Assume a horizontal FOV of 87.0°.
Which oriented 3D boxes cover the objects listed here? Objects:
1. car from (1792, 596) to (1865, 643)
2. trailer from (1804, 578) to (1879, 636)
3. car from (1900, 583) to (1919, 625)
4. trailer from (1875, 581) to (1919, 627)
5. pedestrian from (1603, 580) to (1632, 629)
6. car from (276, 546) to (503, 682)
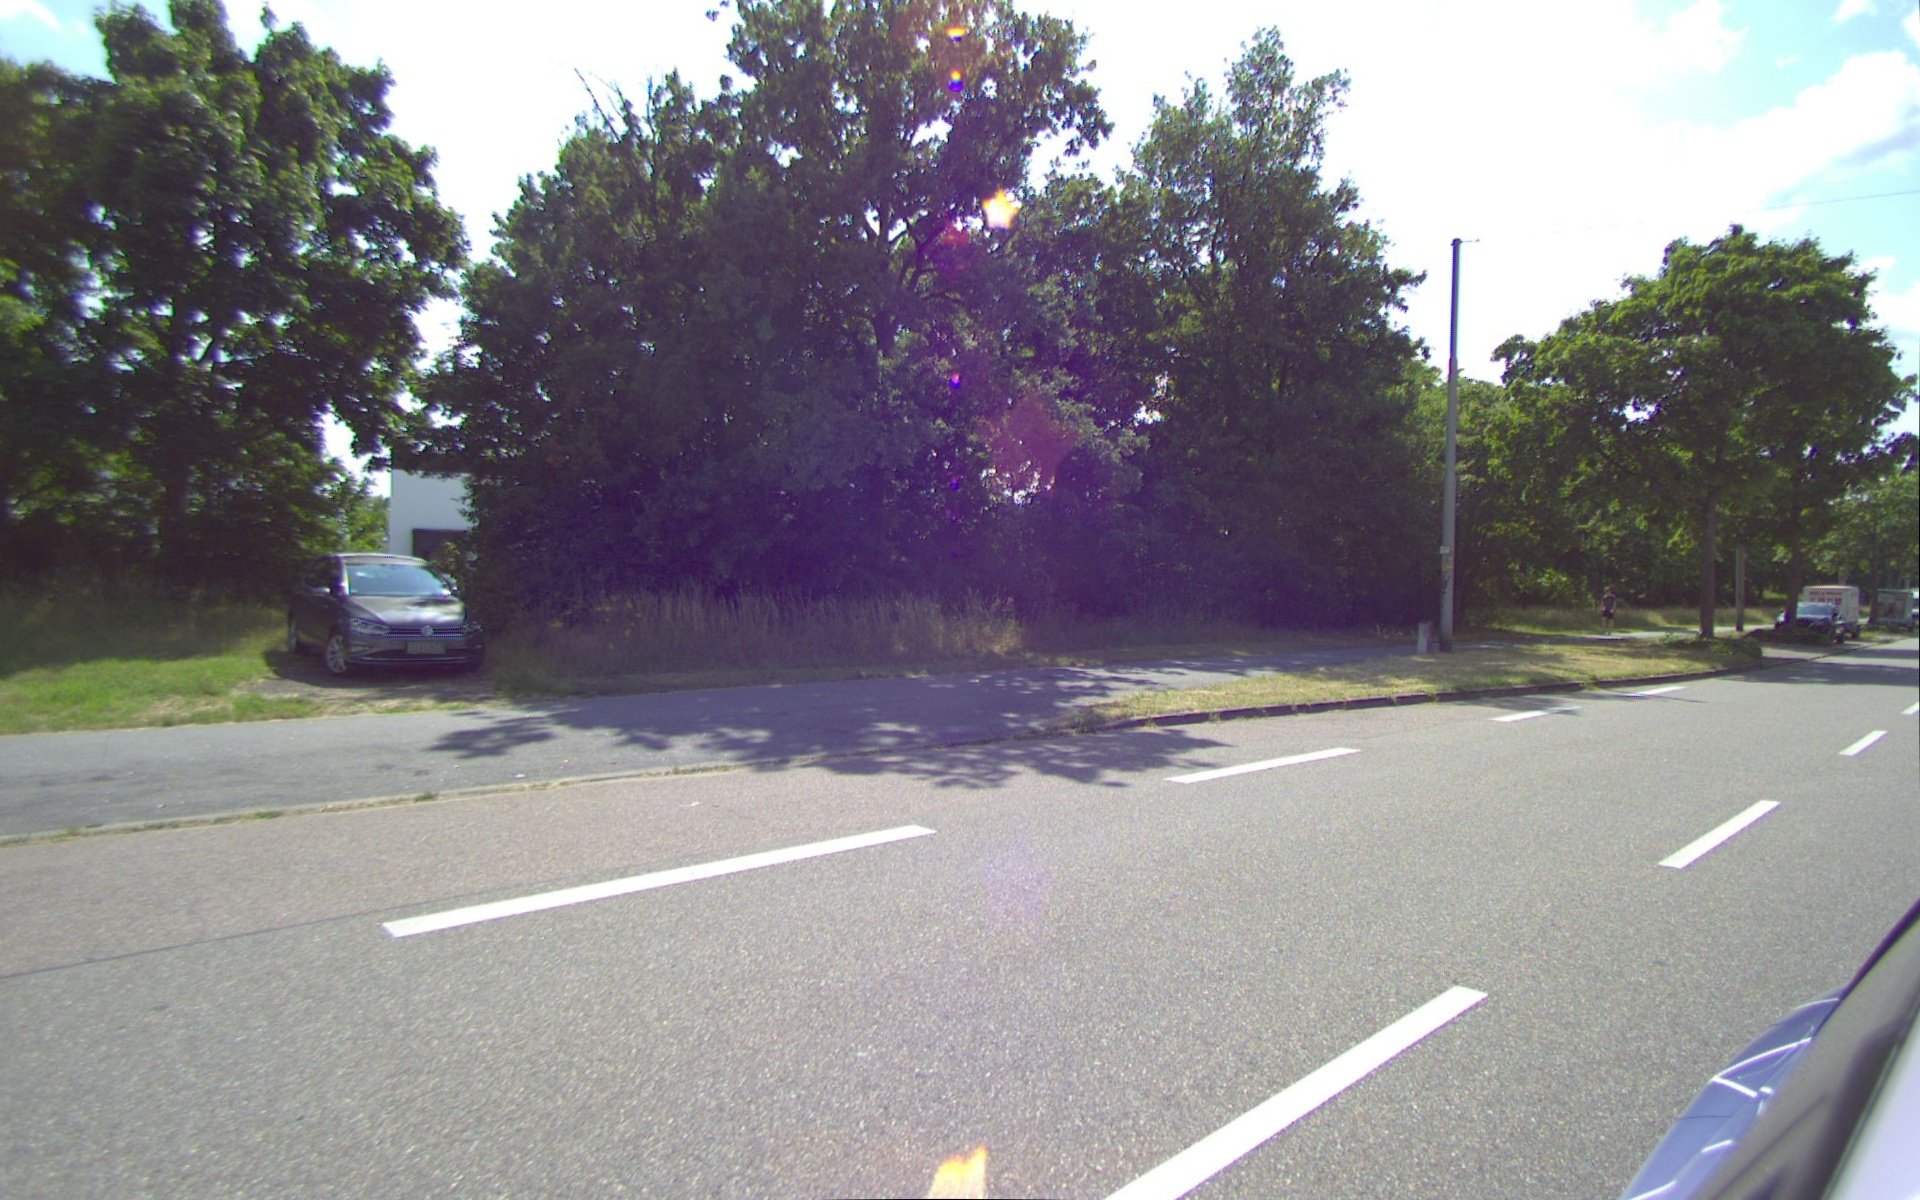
[{"bbox_3d":[34.770,0.739,40.472,4.286,1.712,1.594,-1,2,-41],"label":"car"},{"bbox_3d":[39.166,0.263,44.931,4.528,2.380,1.955,0,3,-43],"label":"trailer"},{"bbox_3d":[64.848,0.229,67.793,6.046,2.729,2.178,-1,0,-42],"label":"car"},{"bbox_3d":[54.580,0.191,58.390,4.699,2.393,1.998,-1,6,-41],"label":"trailer"},{"bbox_3d":[24.799,0.156,38.150,0.727,1.817,0.718,0,-1,-42],"label":"pedestrian"},{"bbox_3d":[-8.247,0.118,14.458,1.755,1.511,4.168,3,2,-45],"label":"car"}]
